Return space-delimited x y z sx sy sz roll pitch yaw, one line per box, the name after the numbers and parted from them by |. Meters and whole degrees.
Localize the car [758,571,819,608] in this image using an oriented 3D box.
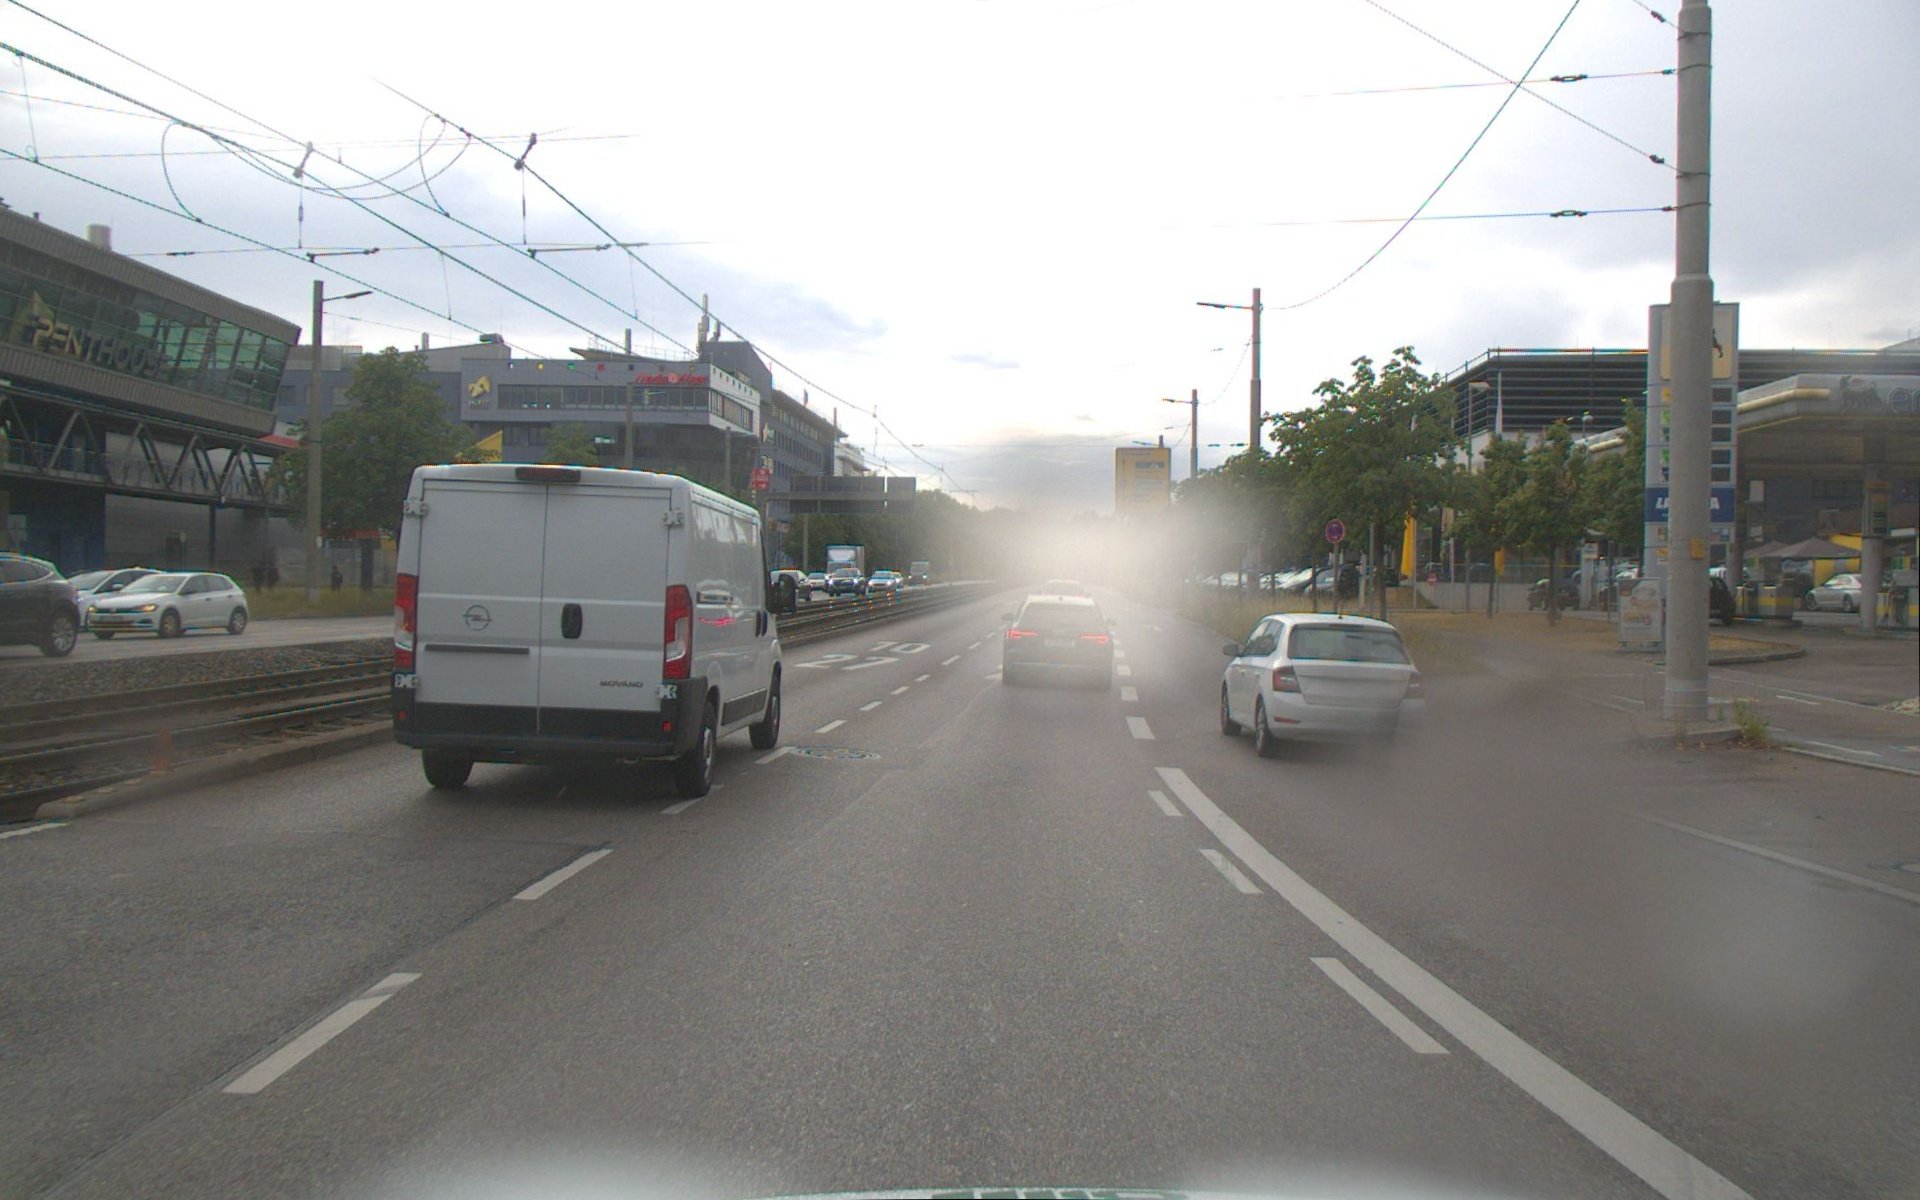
-8.032 -0.487 77.805 1.762 1.649 4.959 1 1 7 | car

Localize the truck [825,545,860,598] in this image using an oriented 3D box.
-8.575 -2.086 121.521 2.115 3.708 6.872 3 1 -2 | truck

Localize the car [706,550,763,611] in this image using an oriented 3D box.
-11.019 -0.975 81.102 2.115 2.769 5.066 3 1 -2 | car

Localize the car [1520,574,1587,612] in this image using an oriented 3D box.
26.360 -0.313 73.573 1.754 1.619 4.002 1 1 3 | car

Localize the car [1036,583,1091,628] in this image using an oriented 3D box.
3.697 0.191 58.750 1.854 1.491 3.911 1 0 4 | car

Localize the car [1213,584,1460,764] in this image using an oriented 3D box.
3.952 0.704 18.012 1.791 1.685 4.001 2 0 1 | car

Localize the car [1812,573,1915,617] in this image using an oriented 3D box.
34.723 -0.201 63.681 1.952 1.624 4.002 1 1 3 | car

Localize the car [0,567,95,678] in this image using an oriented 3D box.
-15.577 0.320 25.499 1.882 1.681 4.199 2 0 6 | car

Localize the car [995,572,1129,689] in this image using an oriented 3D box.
1.610 0.448 27.485 1.953 1.665 4.001 4 1 1 | car

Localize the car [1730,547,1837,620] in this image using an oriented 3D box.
24.847 -0.494 50.011 1.644 2.048 3.544 3 1 5 | car

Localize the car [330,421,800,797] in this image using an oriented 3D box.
-2.764 0.024 13.024 2.395 2.334 4.905 2 1 1 | car

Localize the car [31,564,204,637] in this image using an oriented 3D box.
-22.667 -0.013 44.724 1.762 1.851 4.736 1 1 7 | car

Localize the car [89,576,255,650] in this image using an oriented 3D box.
-17.692 0.260 37.350 1.531 1.536 3.993 1 0 5 | car

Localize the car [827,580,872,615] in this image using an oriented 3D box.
-6.552 -0.178 98.766 2.114 1.918 4.303 3 1 3 | car

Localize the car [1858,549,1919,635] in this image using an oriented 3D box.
24.179 -0.200 40.785 1.952 2.067 4.001 0 1 1 | car
